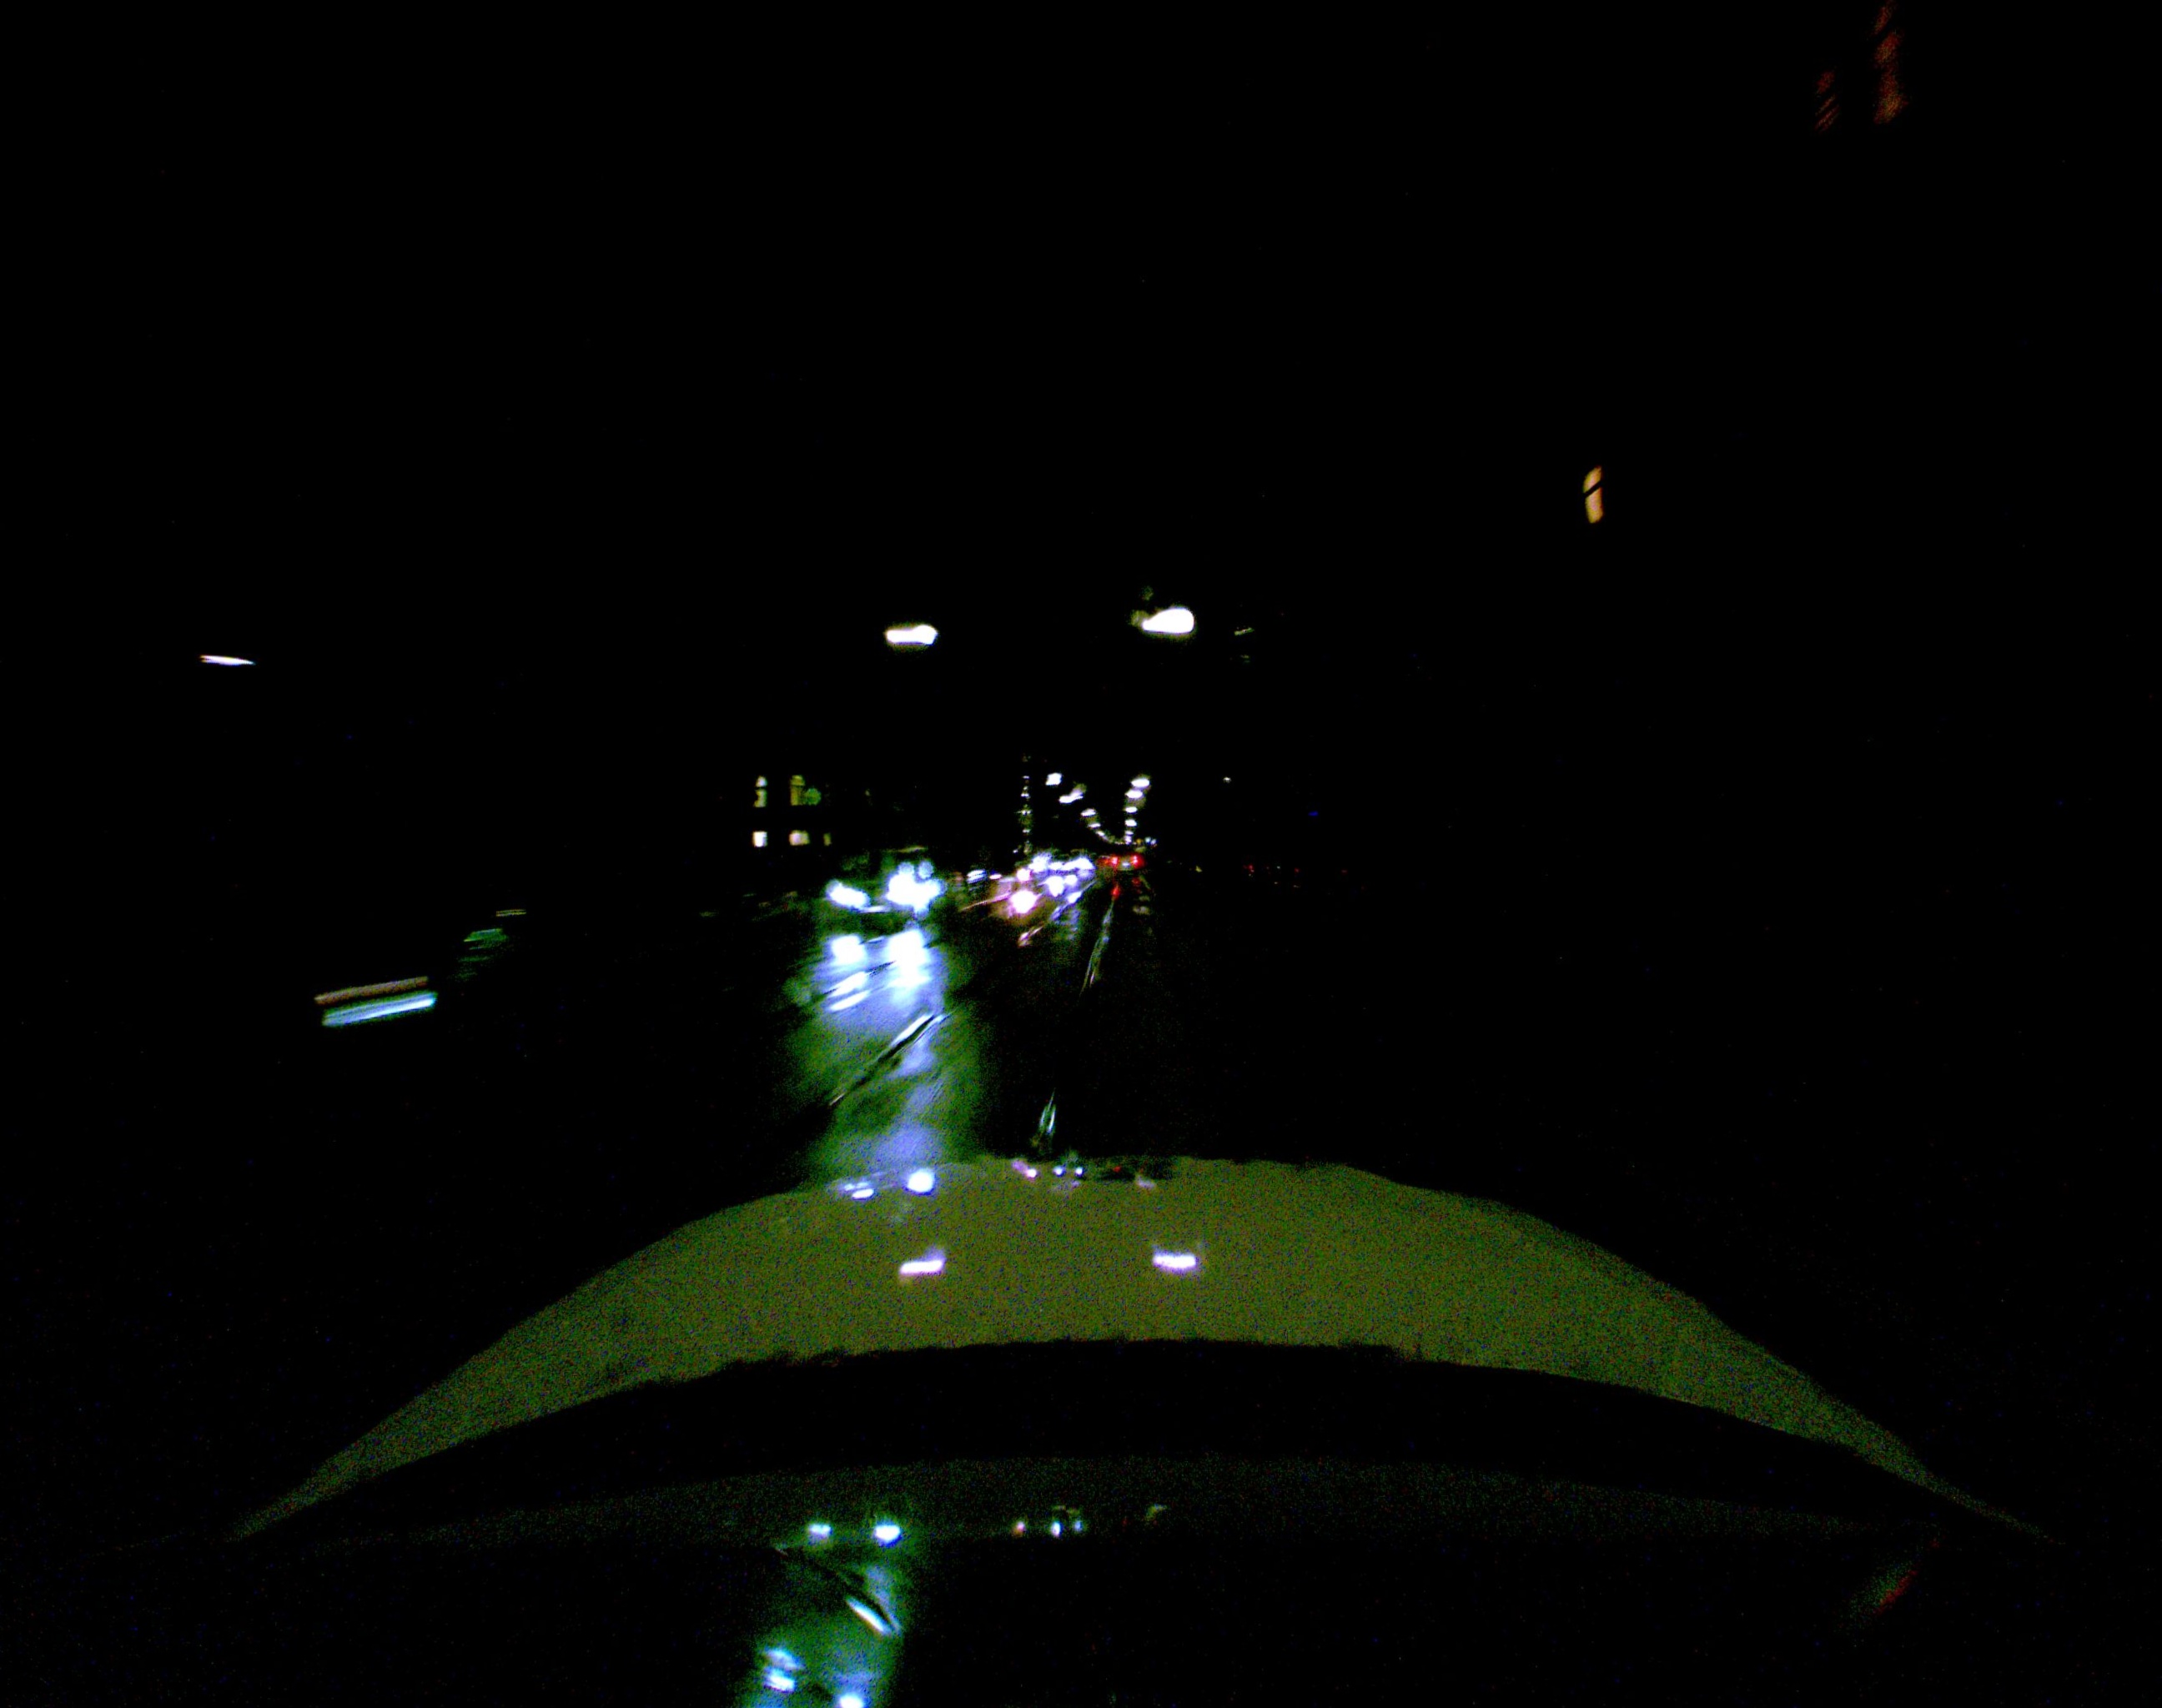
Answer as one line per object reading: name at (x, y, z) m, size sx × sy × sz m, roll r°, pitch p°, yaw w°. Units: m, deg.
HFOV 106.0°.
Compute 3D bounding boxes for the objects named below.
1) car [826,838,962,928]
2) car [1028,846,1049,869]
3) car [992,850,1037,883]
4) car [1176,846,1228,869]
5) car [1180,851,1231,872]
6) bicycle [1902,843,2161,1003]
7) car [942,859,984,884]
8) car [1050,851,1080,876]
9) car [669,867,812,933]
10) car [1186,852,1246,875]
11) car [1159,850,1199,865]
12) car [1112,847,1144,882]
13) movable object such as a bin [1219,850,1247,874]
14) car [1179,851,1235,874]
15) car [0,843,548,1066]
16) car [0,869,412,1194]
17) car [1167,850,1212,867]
car at (-4.429, 0.611, 20.092) m, size 1.917 × 1.879 × 4.642 m, roll -3°, pitch 0°, yaw 4°
car at (-4.671, 0.353, 90.252) m, size 2.018 × 2.499 × 5.608 m, roll 1°, pitch 0°, yaw 0°
car at (-3.176, 0.568, 39.815) m, size 1.645 × 1.479 × 4.207 m, roll -3°, pitch 0°, yaw 2°
car at (9.964, 0.305, 66.938) m, size 4.194 × 1.839 × 1.940 m, roll 1°, pitch 0°, yaw -39°
car at (9.093, 0.552, 59.300) m, size 3.856 × 1.438 × 1.581 m, roll 1°, pitch 0°, yaw -42°
bicycle at (8.086, 0.557, 6.831) m, size 1.807 × 1.164 × 0.493 m, roll -4°, pitch -1°, yaw 0°
car at (-6.997, 1.035, 48.612) m, size 1.661 × 1.386 × 4.005 m, roll 1°, pitch -1°, yaw 4°
car at (-1.243, 0.748, 64.694) m, size 1.930 × 1.815 × 4.389 m, roll -3°, pitch 0°, yaw 4°
car at (-8.423, 1.074, 20.575) m, size 1.759 × 1.407 × 4.142 m, roll 1°, pitch 0°, yaw 1°
car at (8.776, 0.588, 52.899) m, size 3.809 × 1.458 × 1.749 m, roll 1°, pitch 0°, yaw -40°
car at (9.990, 0.358, 83.042) m, size 3.908 × 1.533 × 1.800 m, roll 0°, pitch 0°, yaw -39°
car at (3.448, 0.740, 60.815) m, size 2.209 × 2.441 × 5.385 m, roll -1°, pitch 0°, yaw 1°
movable object such as a bin at (9.291, 0.483, 49.766) m, size 1.351 × 1.407 × 1.021 m, roll -1°, pitch 0°, yaw -17°
car at (8.665, 0.544, 55.906) m, size 1.785 × 1.488 × 3.878 m, roll -2°, pitch 0°, yaw 45°
car at (-9.070, 0.811, 9.513) m, size 1.986 × 1.825 × 5.312 m, roll 1°, pitch 1°, yaw 2°
car at (-5.963, 0.886, 4.036) m, size 1.783 × 1.464 × 3.908 m, roll -2°, pitch 0°, yaw 6°
car at (9.899, 0.406, 73.931) m, size 1.671 × 1.404 × 4.484 m, roll 0°, pitch 2°, yaw 44°
